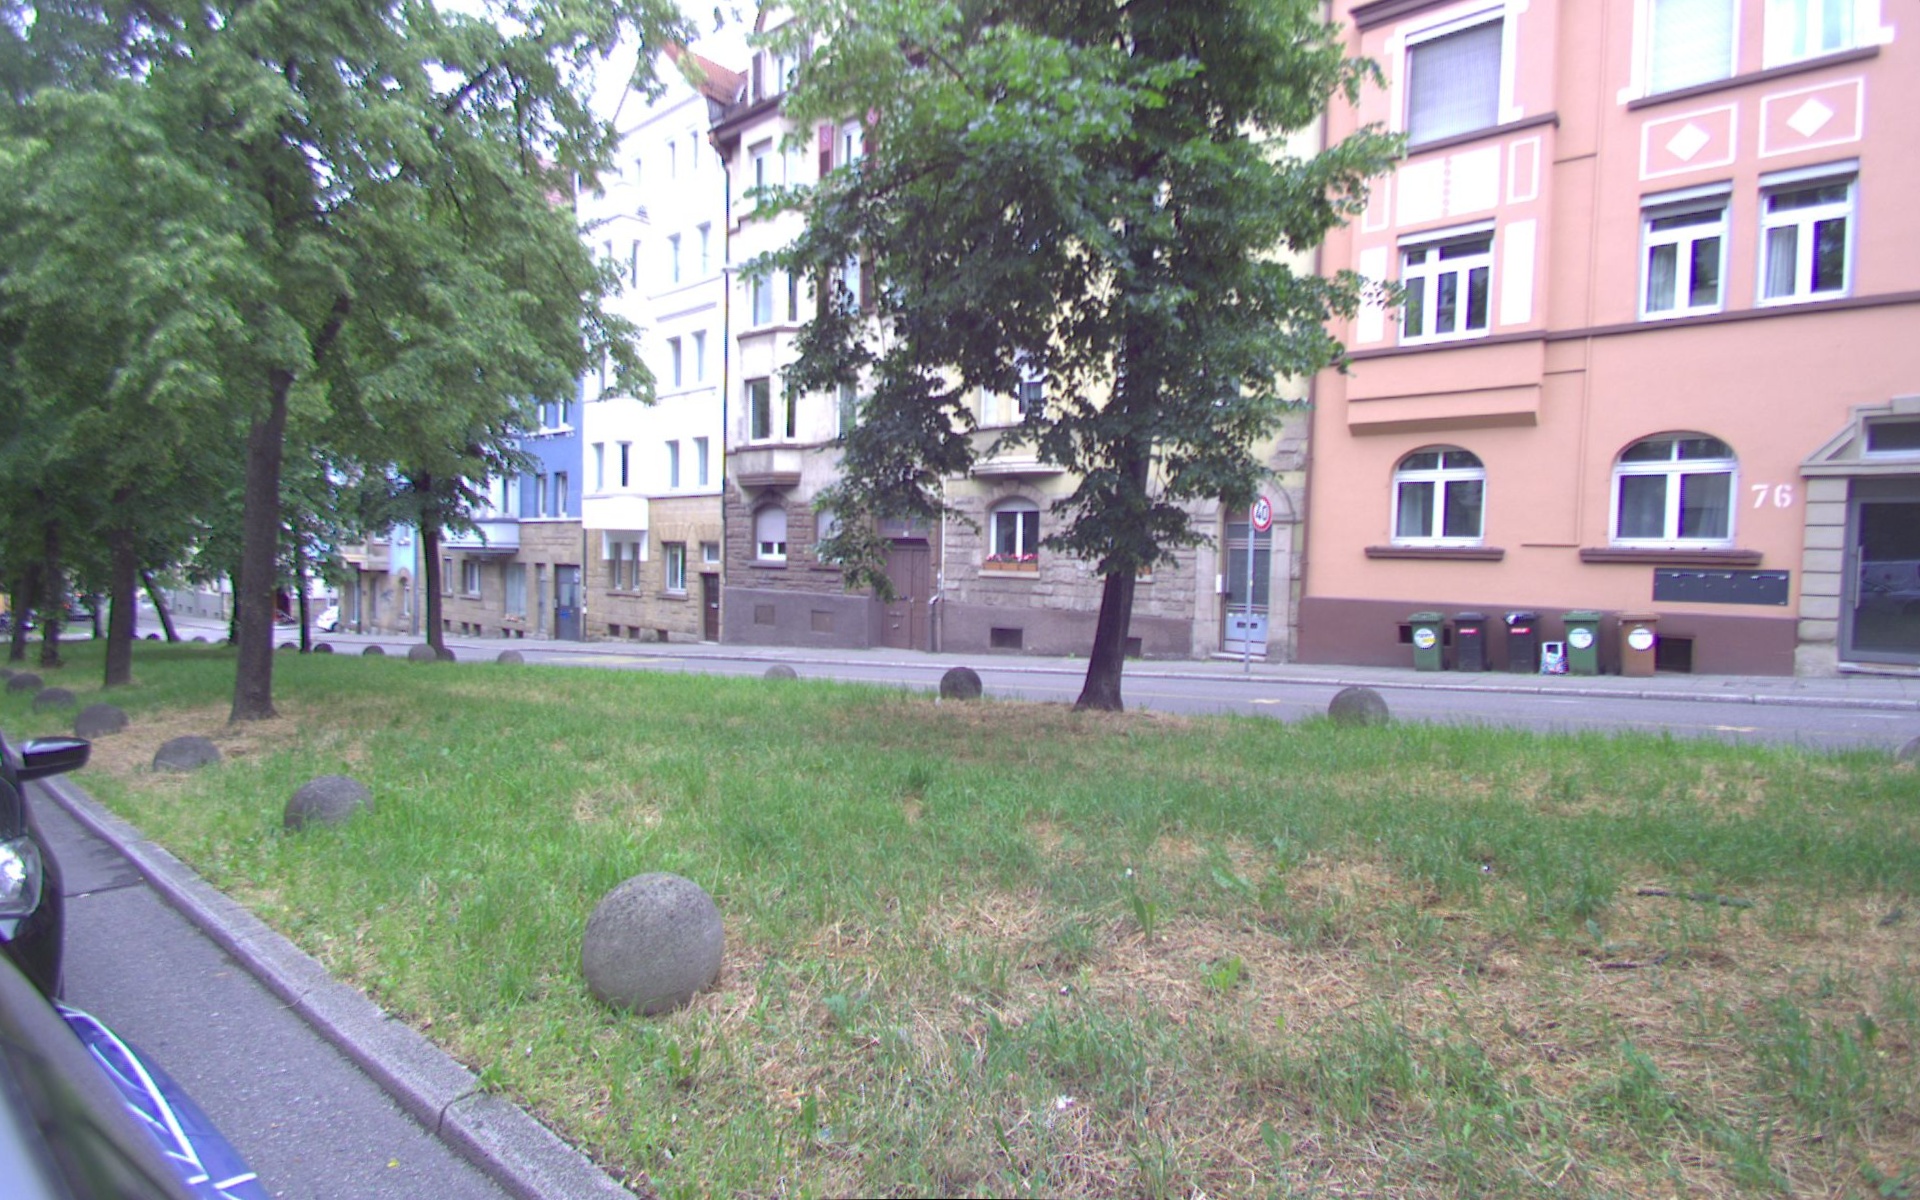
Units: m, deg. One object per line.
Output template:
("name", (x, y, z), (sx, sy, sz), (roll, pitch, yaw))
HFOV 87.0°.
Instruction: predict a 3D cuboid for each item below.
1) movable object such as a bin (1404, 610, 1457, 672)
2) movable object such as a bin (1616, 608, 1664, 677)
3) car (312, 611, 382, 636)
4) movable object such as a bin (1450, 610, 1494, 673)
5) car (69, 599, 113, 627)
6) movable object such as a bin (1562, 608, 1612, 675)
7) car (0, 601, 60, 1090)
("movable object such as a bin", (7.521, 0.650, 16.180), (0.617, 0.955, 0.610), (-1, 0, 40))
("movable object such as a bin", (9.638, 0.587, 14.338), (0.514, 0.928, 0.750), (-1, 0, 36))
("car", (-35.386, 1.329, 58.469), (3.244, 1.341, 1.674), (-1, 0, -40))
("movable object such as a bin", (7.995, 0.639, 15.808), (0.531, 0.953, 0.575), (-1, 0, 35))
("car", (-63.987, 0.999, 74.506), (5.308, 1.959, 1.971), (-2, 0, 44))
("movable object such as a bin", (9.143, 0.594, 14.758), (0.558, 0.928, 0.648), (-1, 0, 36))
("car", (-4.584, 0.741, 3.639), (3.295, 1.476, 1.590), (-1, -2, 41))
